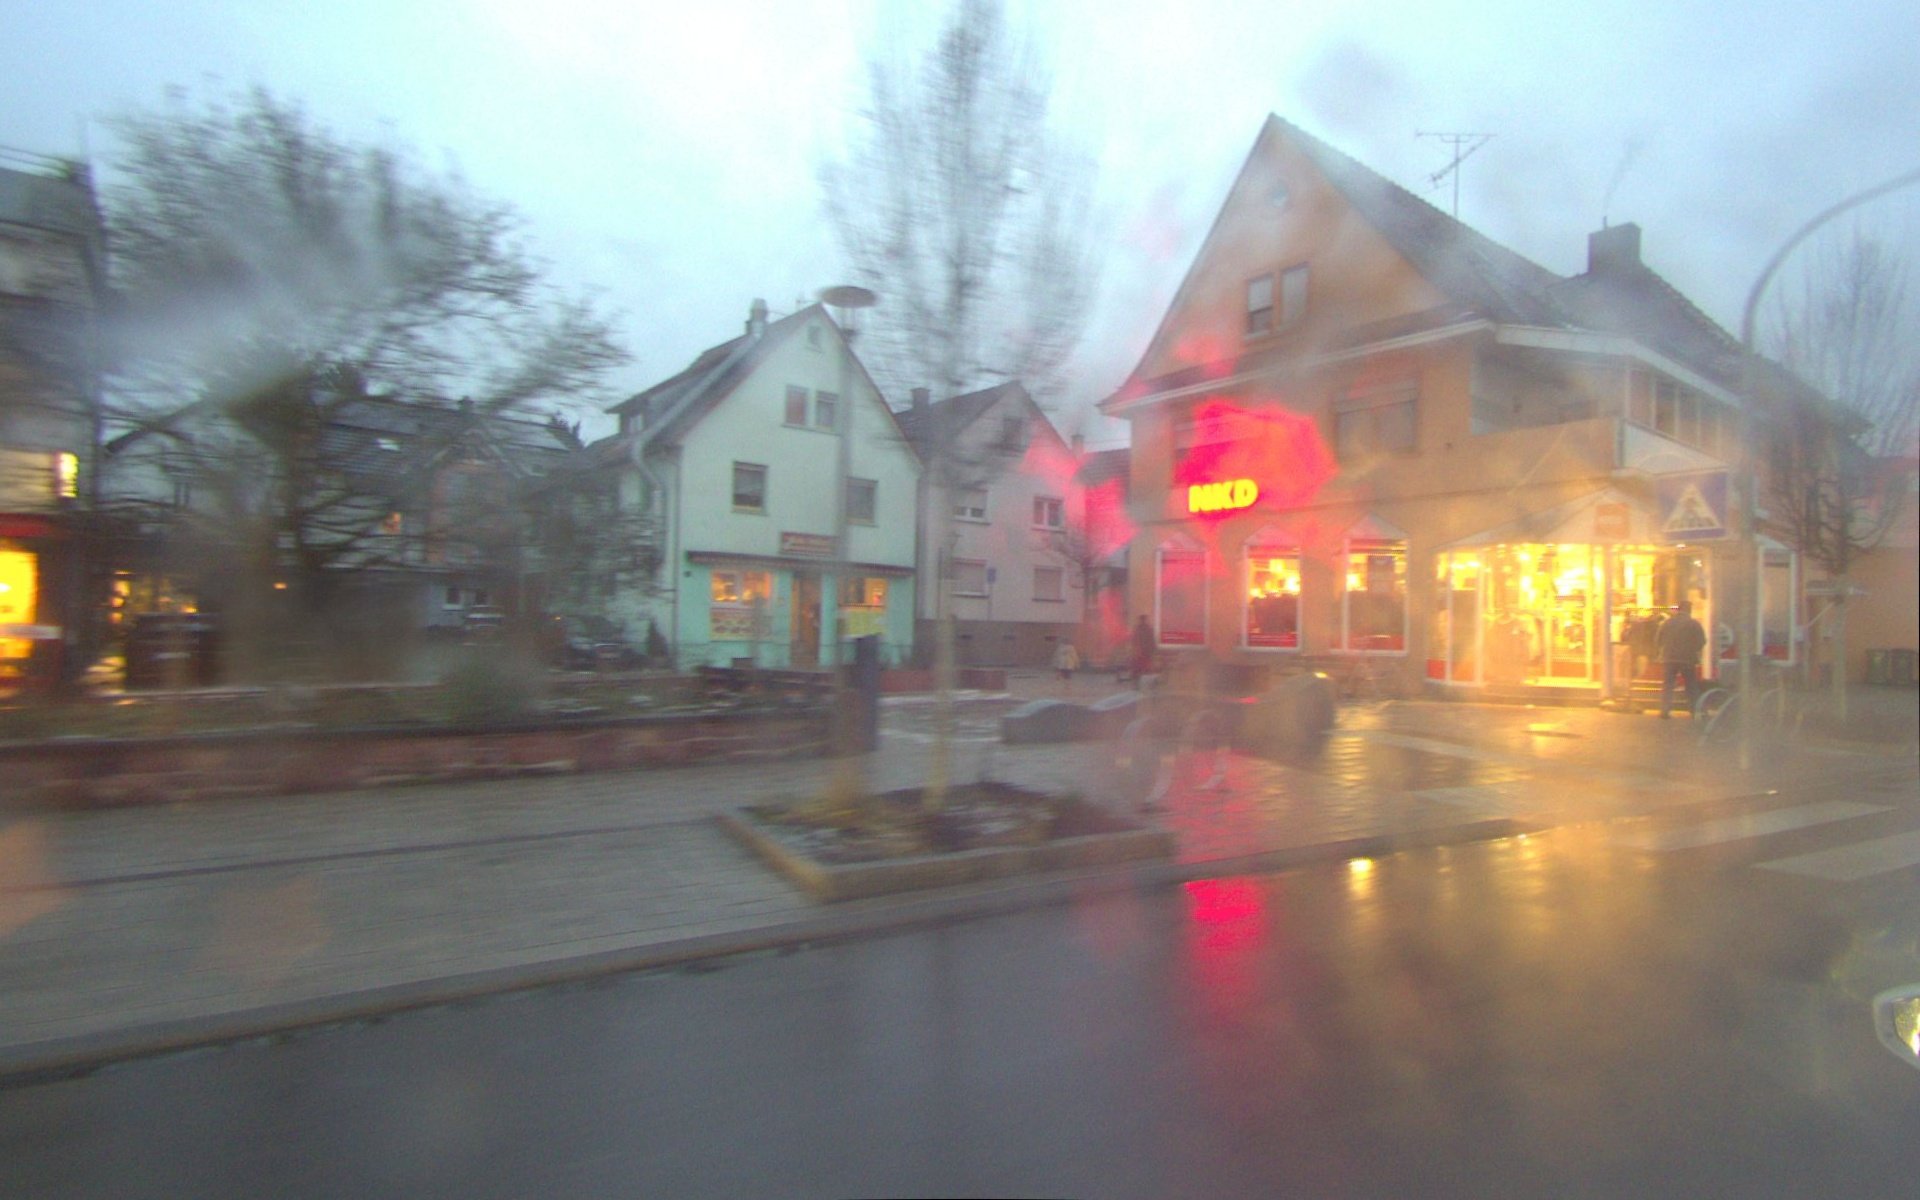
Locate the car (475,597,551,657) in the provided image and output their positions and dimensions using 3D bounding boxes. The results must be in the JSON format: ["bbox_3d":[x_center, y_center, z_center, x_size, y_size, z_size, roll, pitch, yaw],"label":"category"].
[{"bbox_3d":[-15.084,0.870,33.836,1.555,1.882,3.276,1,0,-38],"label":"car"}]

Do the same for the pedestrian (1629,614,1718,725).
[{"bbox_3d":[11.397,1.085,16.052,1.087,1.680,0.820,1,1,-36],"label":"pedestrian"}]

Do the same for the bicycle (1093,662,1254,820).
[{"bbox_3d":[1.755,1.080,8.079,0.321,1.075,1.734,-6,-4,44],"label":"bicycle"}]

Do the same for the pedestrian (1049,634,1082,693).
[{"bbox_3d":[2.386,1.434,22.796,0.673,1.262,0.826,2,1,2],"label":"pedestrian"}]

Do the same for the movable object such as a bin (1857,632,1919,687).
[{"bbox_3d":[24.351,1.540,26.307,0.844,1.372,1.141,1,0,-39],"label":"movable object such as a bin"}]

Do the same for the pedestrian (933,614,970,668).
[{"bbox_3d":[-0.276,1.334,33.086,0.834,1.738,0.908,1,-1,-42],"label":"pedestrian"}]

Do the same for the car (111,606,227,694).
[{"bbox_3d":[-18.640,1.144,23.627,1.984,1.868,3.954,2,-3,-40],"label":"car"}]

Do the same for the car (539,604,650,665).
[{"bbox_3d":[-10.527,0.948,28.759,1.966,1.624,3.959,1,-1,-36],"label":"car"}]

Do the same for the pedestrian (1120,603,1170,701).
[{"bbox_3d":[3.969,1.097,21.557,0.724,2.040,0.823,1,1,-15],"label":"pedestrian"}]
